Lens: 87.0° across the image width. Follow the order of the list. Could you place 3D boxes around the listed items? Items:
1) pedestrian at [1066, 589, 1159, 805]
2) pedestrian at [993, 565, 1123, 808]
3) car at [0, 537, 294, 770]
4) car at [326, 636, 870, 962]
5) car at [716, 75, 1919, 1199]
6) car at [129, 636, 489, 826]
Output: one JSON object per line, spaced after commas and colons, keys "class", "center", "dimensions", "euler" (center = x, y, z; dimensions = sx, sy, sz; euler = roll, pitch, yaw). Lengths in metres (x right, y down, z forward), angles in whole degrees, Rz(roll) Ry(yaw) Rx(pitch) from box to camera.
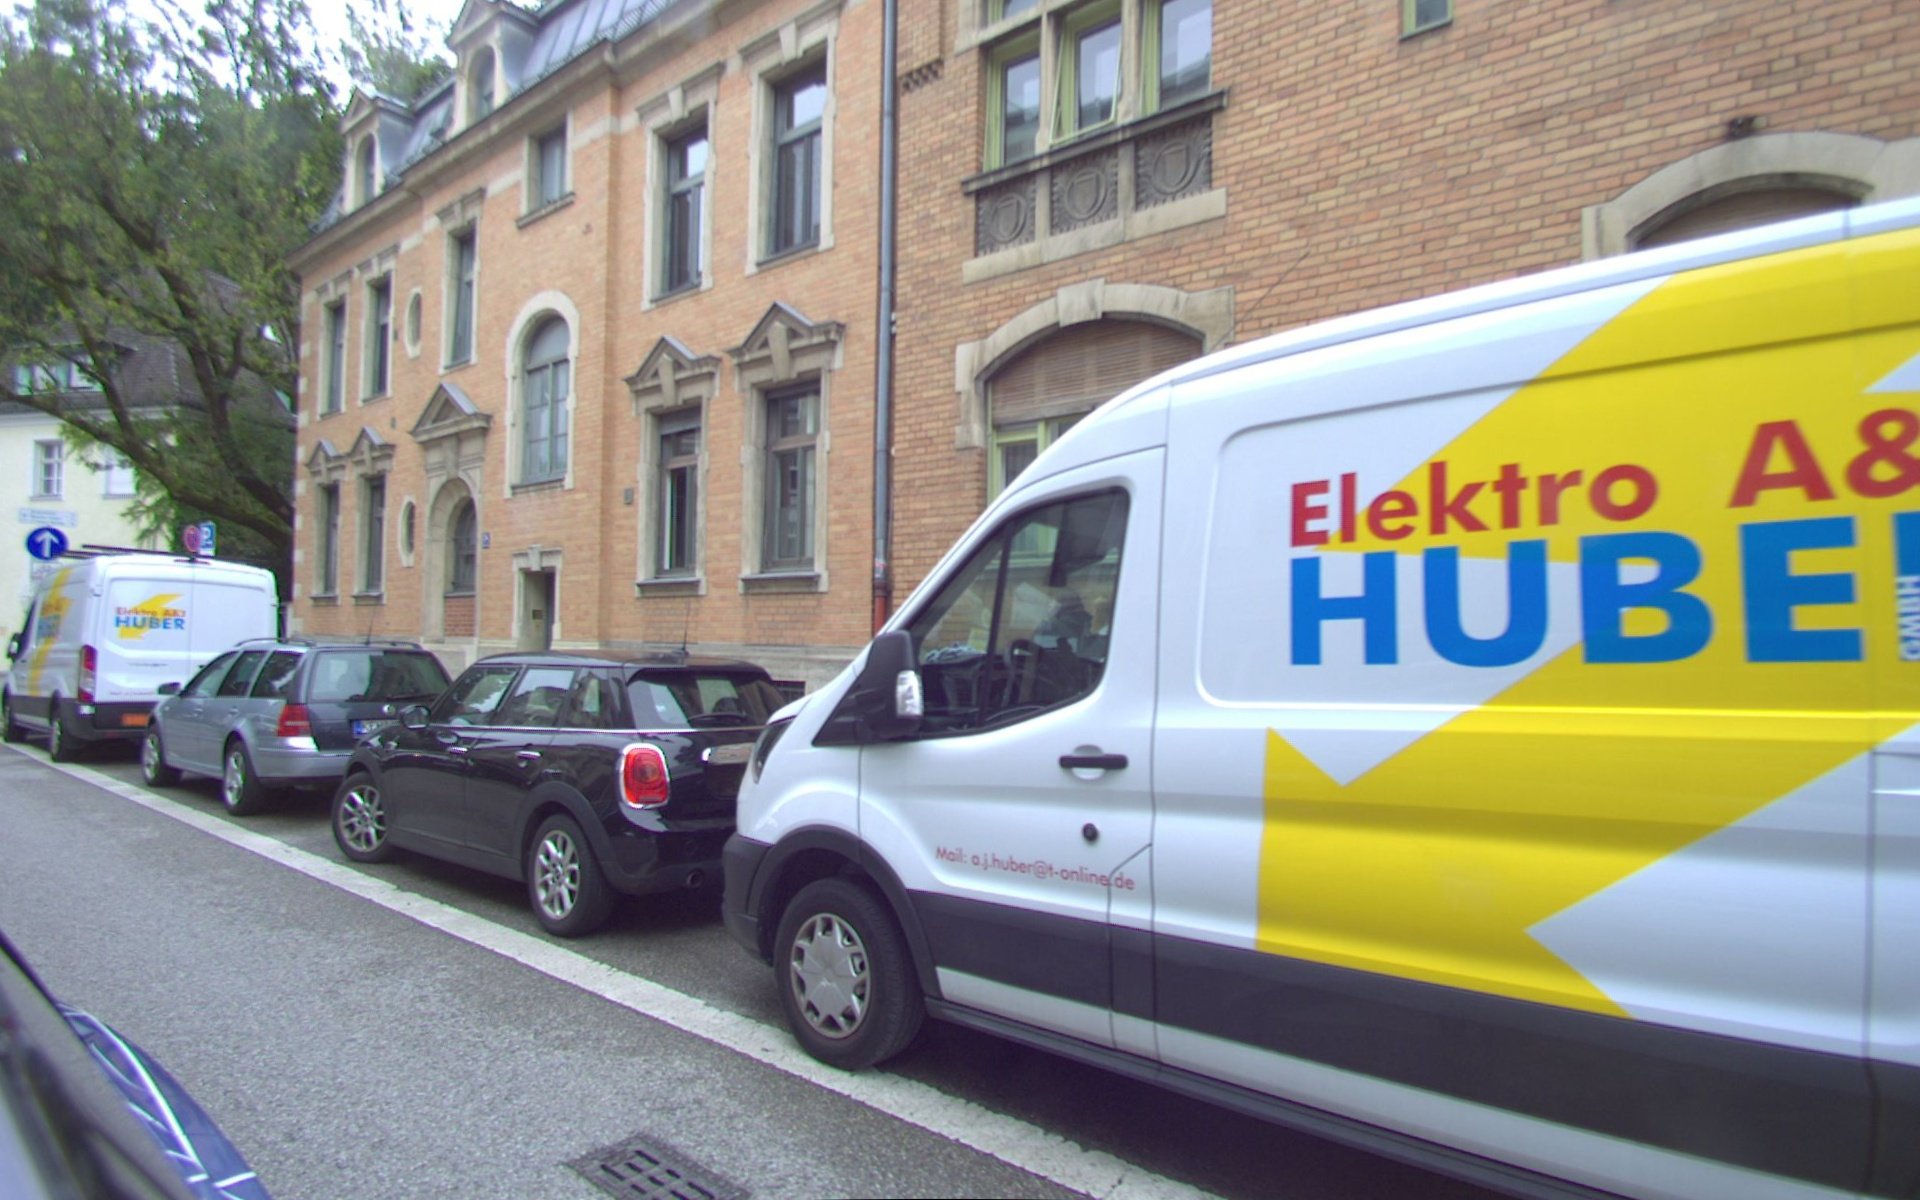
{"class": "pedestrian", "center": [1.228, 0.757, 8.104], "dimensions": [0.467, 1.645, 0.626], "euler": [-1, -5, 39]}
{"class": "pedestrian", "center": [0.715, 0.605, 7.331], "dimensions": [0.674, 1.645, 0.626], "euler": [-2, -5, 39]}
{"class": "car", "center": [-10.840, 0.727, 13.356], "dimensions": [4.417, 2.560, 2.092], "euler": [-2, -6, 40]}
{"class": "car", "center": [-2.366, 0.982, 6.261], "dimensions": [3.536, 1.454, 1.508], "euler": [-2, -5, 39]}
{"class": "car", "center": [1.733, 0.396, 2.920], "dimensions": [5.218, 2.497, 1.961], "euler": [-1, -4, 40]}
{"class": "car", "center": [-6.326, 1.107, 9.683], "dimensions": [3.979, 1.454, 1.673], "euler": [-2, -5, 39]}
